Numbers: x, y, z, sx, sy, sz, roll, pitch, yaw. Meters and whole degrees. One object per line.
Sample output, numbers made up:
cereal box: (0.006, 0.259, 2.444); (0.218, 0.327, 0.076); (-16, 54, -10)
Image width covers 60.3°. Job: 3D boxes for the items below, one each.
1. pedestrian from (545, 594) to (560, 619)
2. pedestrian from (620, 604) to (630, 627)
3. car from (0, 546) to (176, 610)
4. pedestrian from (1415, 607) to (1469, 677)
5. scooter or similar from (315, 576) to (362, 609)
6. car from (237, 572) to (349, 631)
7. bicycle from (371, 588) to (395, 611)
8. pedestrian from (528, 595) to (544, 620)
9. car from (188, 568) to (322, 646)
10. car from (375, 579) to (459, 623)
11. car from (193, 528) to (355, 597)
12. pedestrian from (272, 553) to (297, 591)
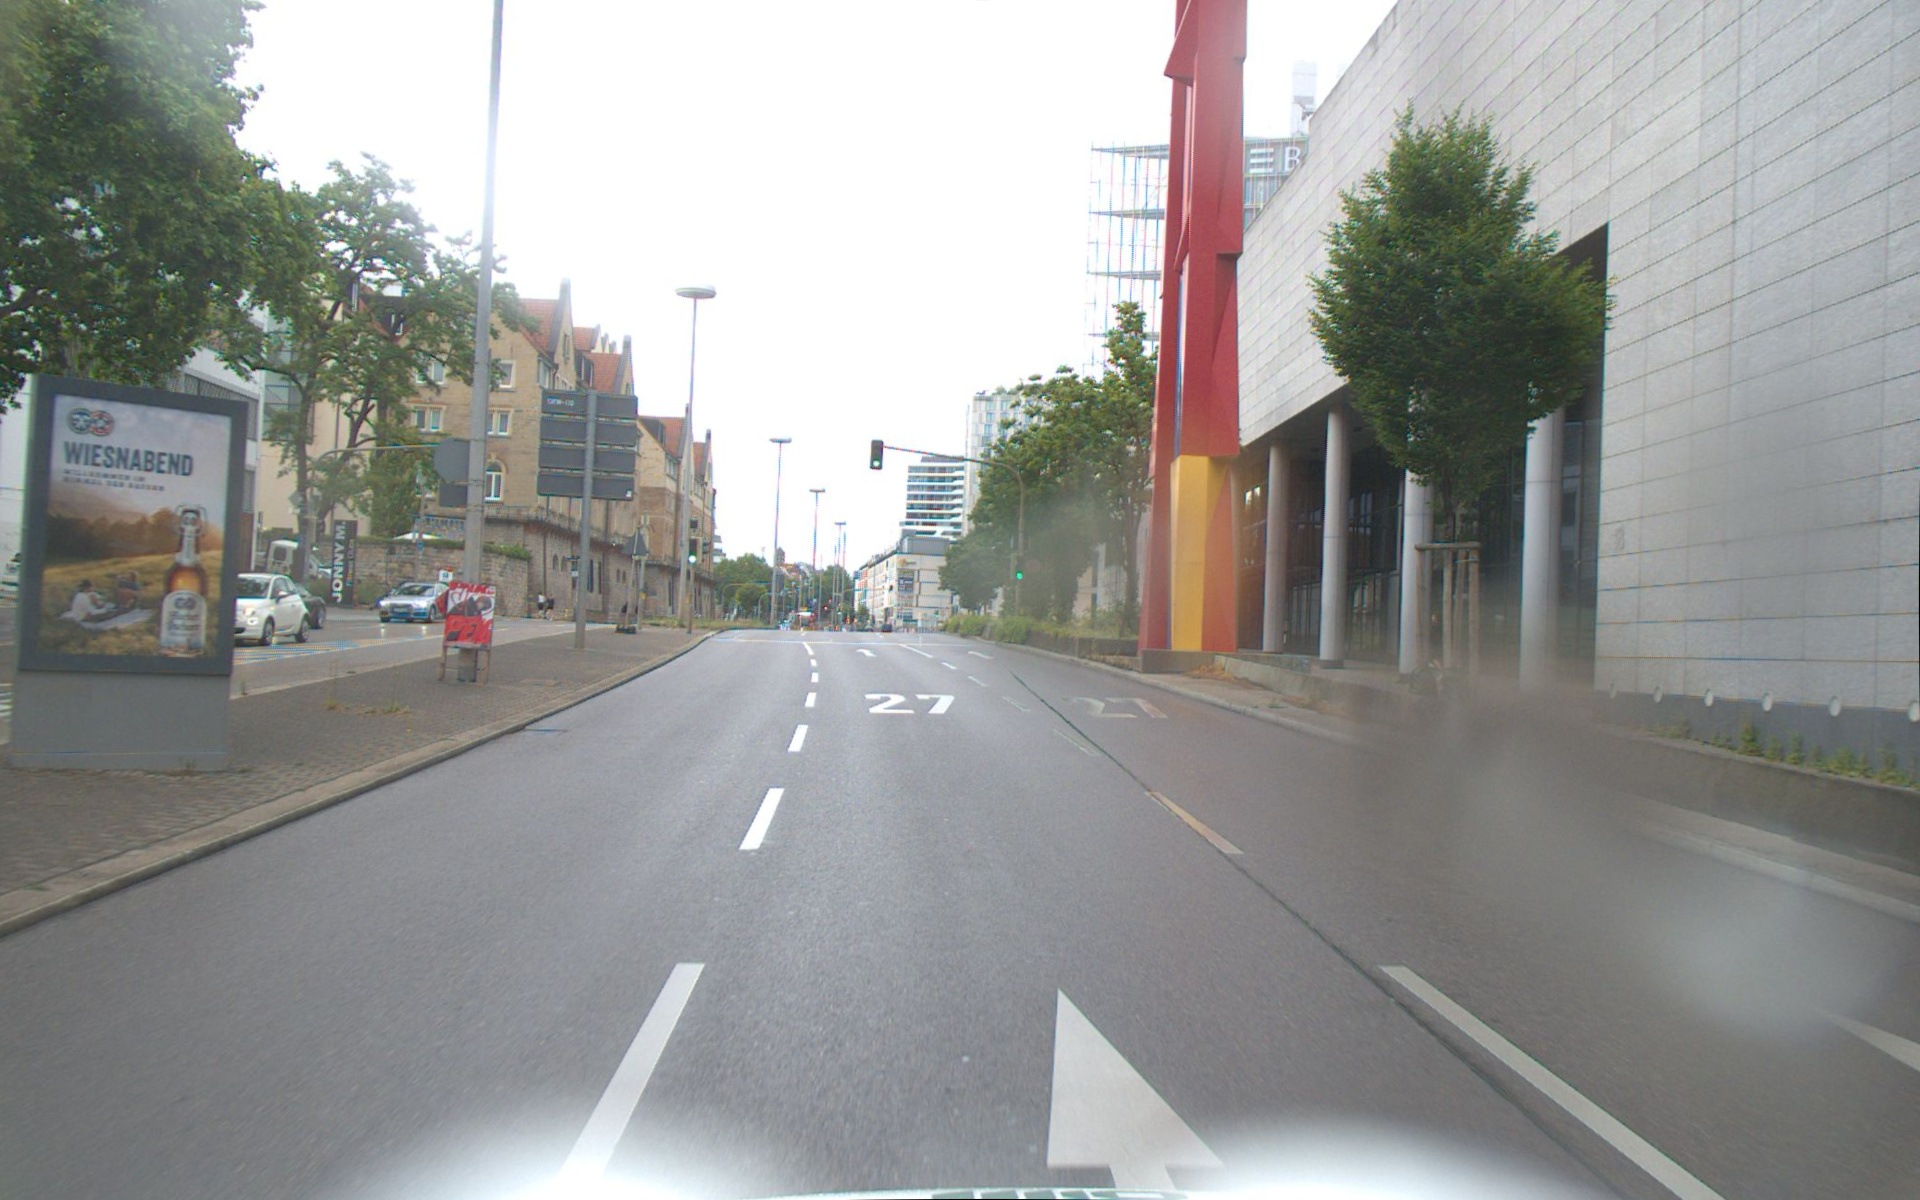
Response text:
pedestrian: (-24.472, 0.393, 99.310); (0.739, 1.504, 0.714); (1, 0, -2)
pedestrian: (-25.929, 1.167, 128.018); (0.628, 1.776, 0.620); (1, 0, -4)
car: (-29.130, -0.705, 55.289); (1.961, 1.682, 4.823); (3, -2, 36)
pedestrian: (11.438, 0.982, 39.265); (0.951, 1.614, 0.841); (1, 0, -6)
scooter or similar: (-26.383, -0.324, 70.264); (1.732, 1.268, 0.366); (6, -3, -32)
car: (-18.590, 0.039, 46.257); (1.719, 1.545, 4.166); (1, 0, -5)
bicycle: (-26.087, -0.031, 74.760); (0.447, 1.008, 1.758); (2, -1, -2)
pedestrian: (-25.377, 0.436, 98.987); (0.739, 1.504, 0.714); (1, 0, -2)
car: (-15.015, 0.133, 35.408); (1.721, 1.545, 3.733); (1, 0, -9)
car: (-19.493, 0.028, 59.603); (1.956, 1.472, 4.873); (1, 0, -7)
car: (-34.080, -1.897, 82.300); (6.769, 2.313, 2.514); (9, 2, -1)
pedestrian: (-30.456, -1.252, 74.570); (0.753, 1.670, 0.841); (1, 0, -2)
